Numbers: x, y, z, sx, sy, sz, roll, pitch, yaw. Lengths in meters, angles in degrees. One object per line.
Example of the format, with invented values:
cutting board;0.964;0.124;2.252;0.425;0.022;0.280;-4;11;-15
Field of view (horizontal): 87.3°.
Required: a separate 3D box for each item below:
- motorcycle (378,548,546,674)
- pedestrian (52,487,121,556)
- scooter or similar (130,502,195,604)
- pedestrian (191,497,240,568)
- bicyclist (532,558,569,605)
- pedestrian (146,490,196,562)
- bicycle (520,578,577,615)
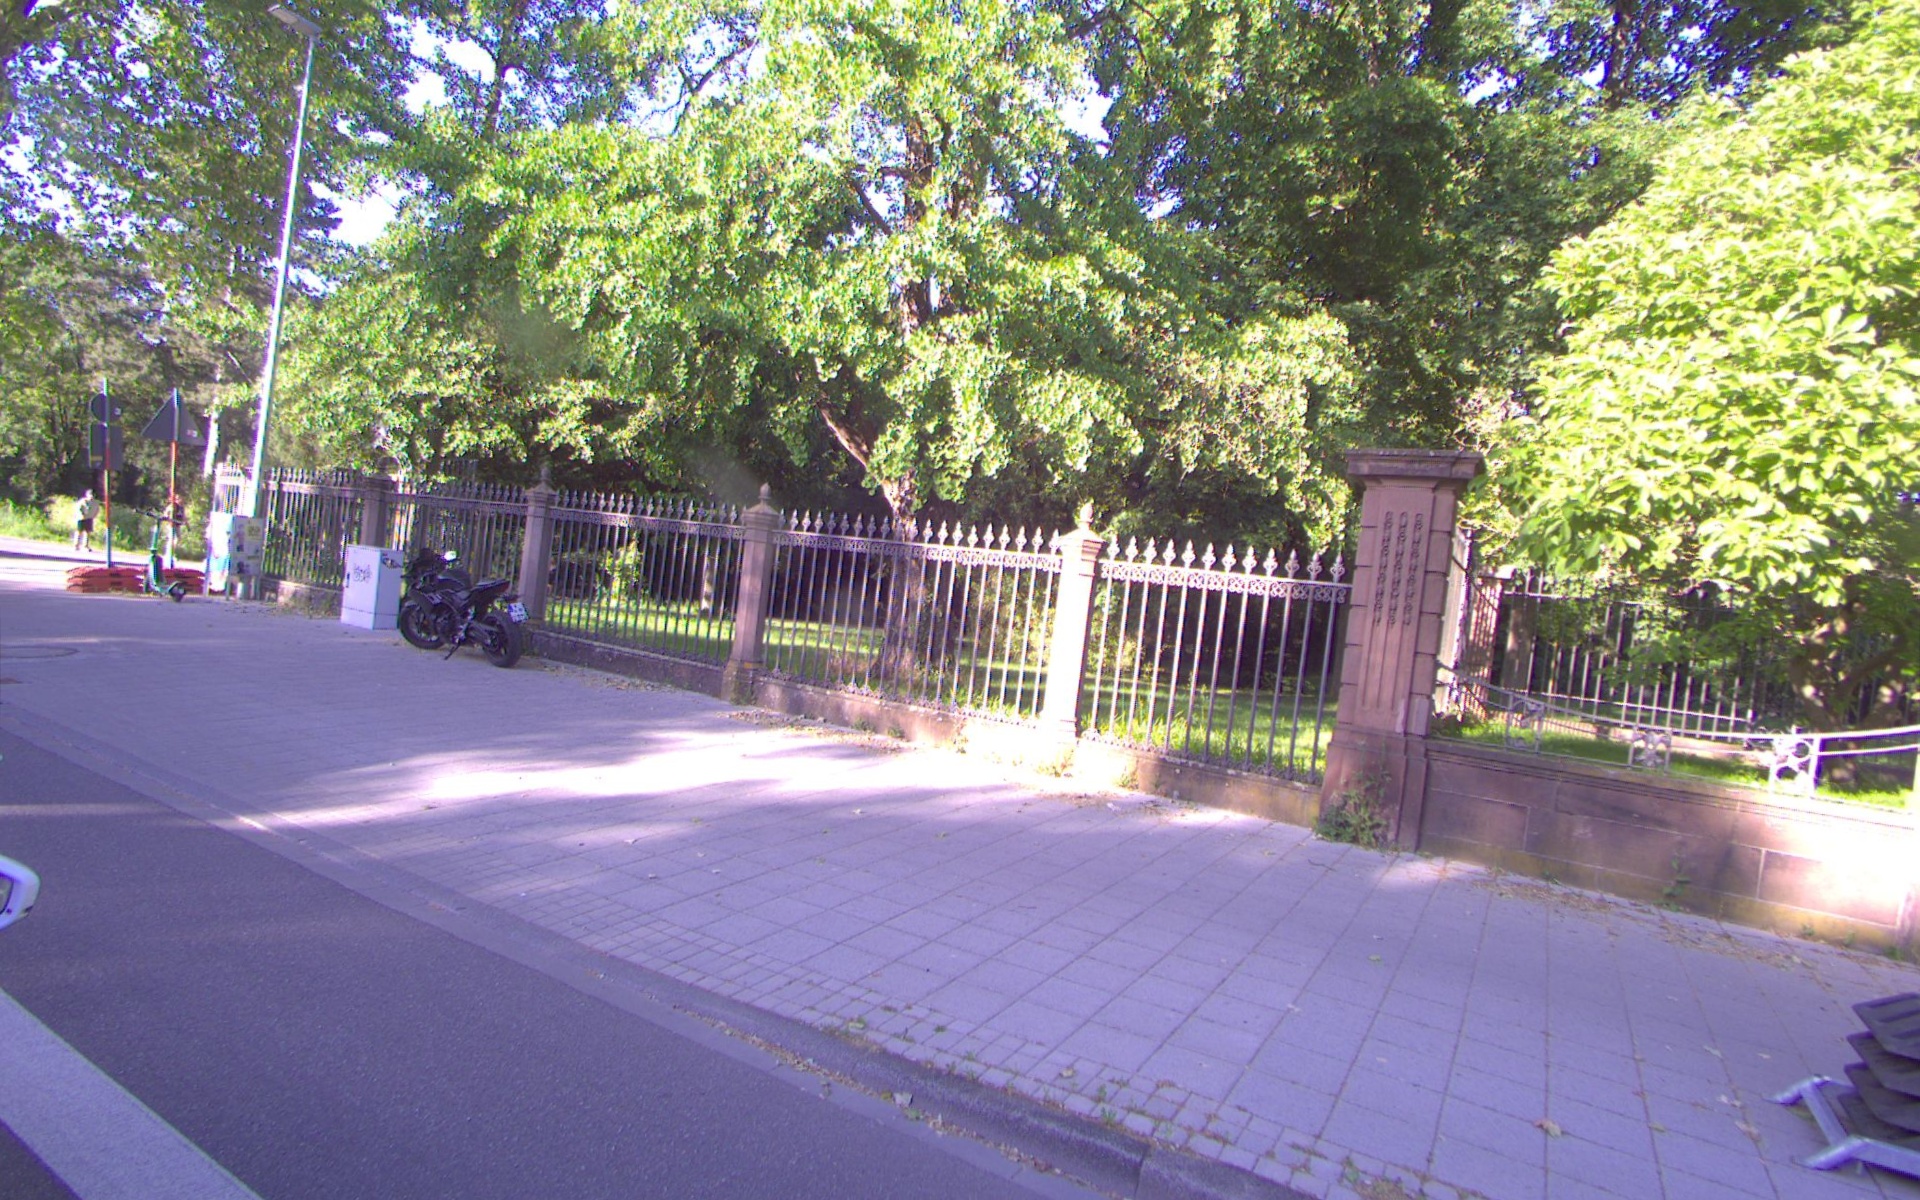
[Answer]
motorcycle;-5.510;0.092;11.064;2.134;1.146;0.506;7;2;30
pedestrian;-21.725;-1.937;25.042;0.899;1.536;0.821;7;-1;19
scooter or similar;-11.307;-0.673;14.254;1.152;1.344;0.228;7;2;30
pedestrian;-19.304;-1.740;26.094;0.632;1.721;0.690;7;2;25
bicyclist;-13.561;-0.613;33.352;0.657;1.448;0.781;7;-1;43
pedestrian;-20.968;-1.961;26.736;0.821;1.794;0.816;8;2;42
bicycle;-13.641;-0.100;33.359;0.468;1.026;1.615;7;-1;42
